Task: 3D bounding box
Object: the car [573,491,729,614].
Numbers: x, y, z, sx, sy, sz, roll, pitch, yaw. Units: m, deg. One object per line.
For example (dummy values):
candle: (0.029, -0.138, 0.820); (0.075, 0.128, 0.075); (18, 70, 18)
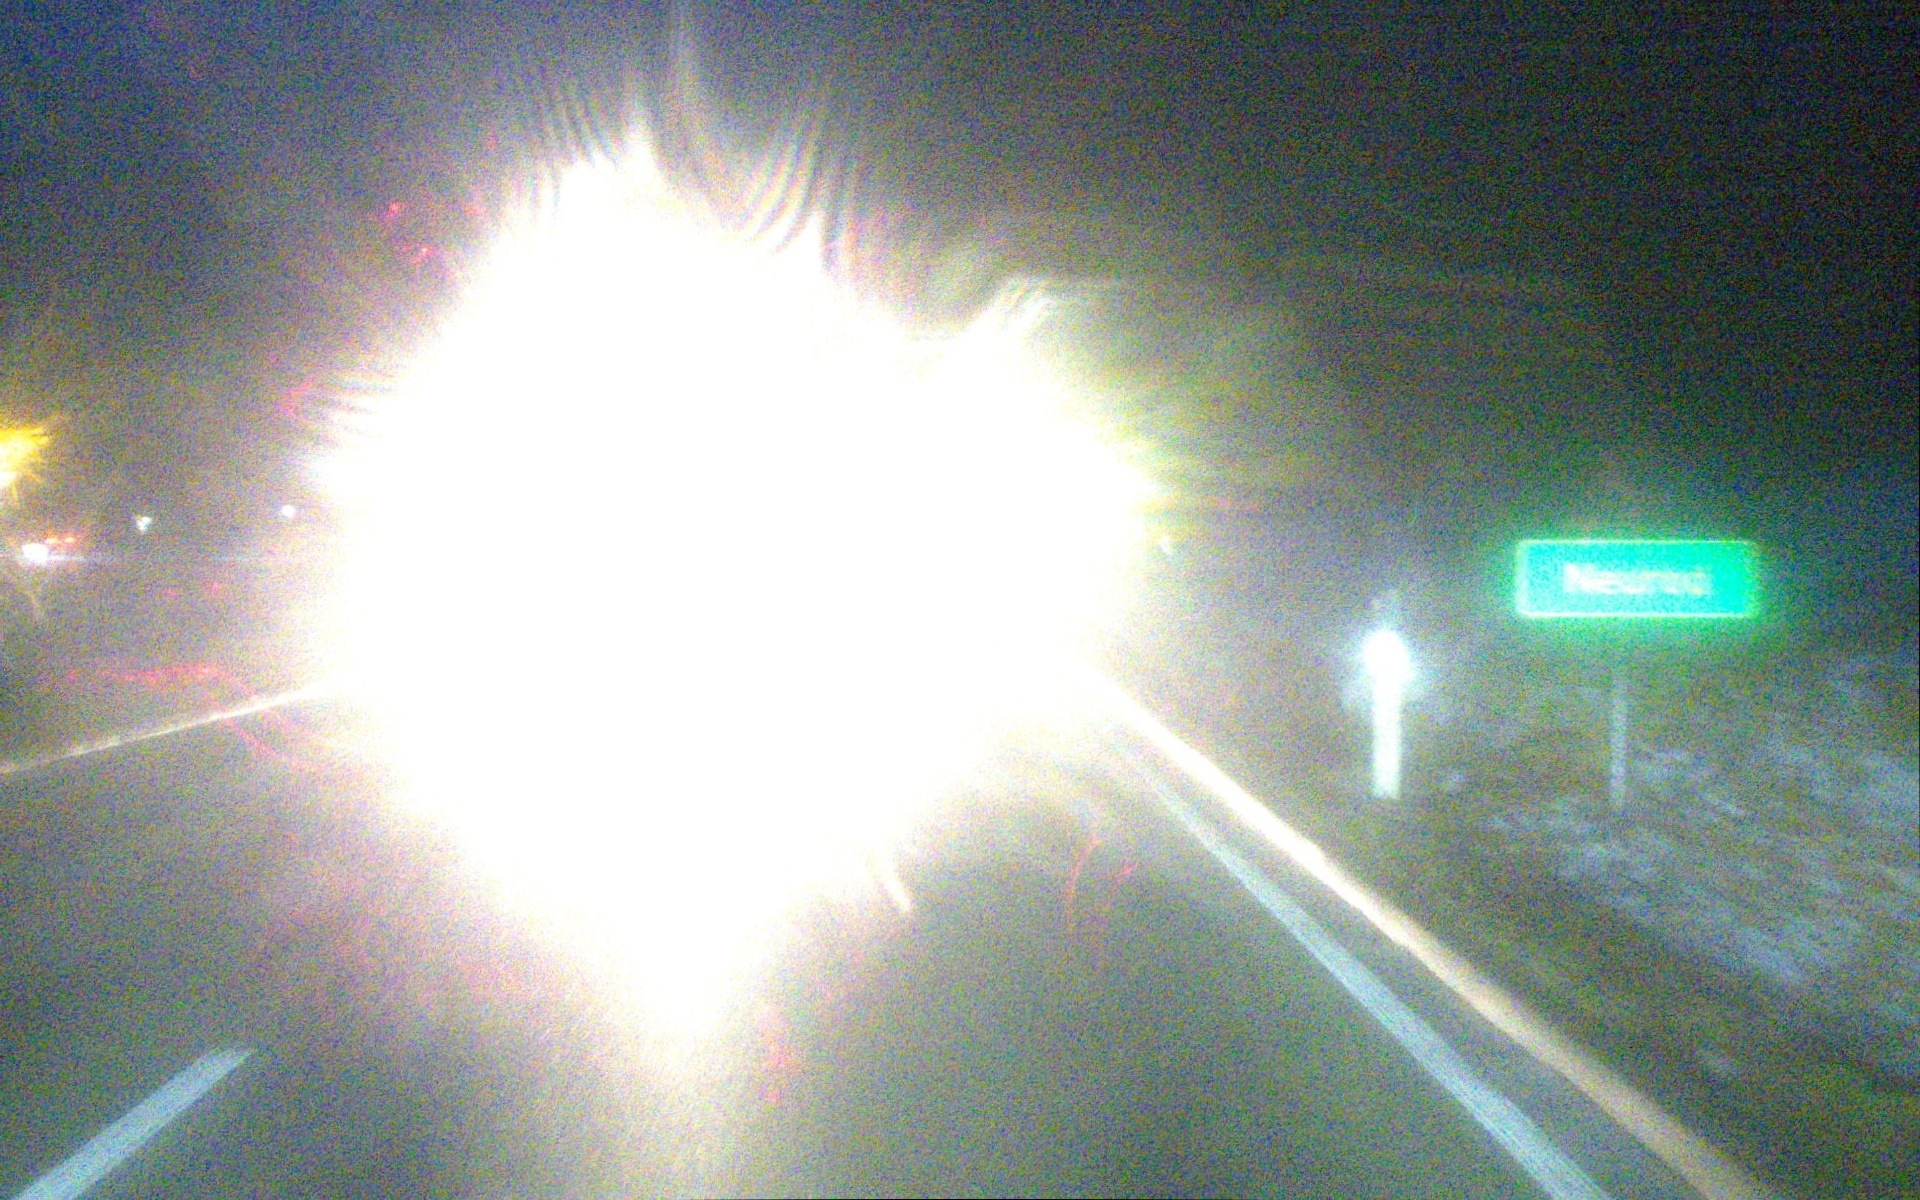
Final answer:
car: (-6.279, -0.945, 70.660); (2.752, 2.261, 6.262); (-3, 0, -2)
